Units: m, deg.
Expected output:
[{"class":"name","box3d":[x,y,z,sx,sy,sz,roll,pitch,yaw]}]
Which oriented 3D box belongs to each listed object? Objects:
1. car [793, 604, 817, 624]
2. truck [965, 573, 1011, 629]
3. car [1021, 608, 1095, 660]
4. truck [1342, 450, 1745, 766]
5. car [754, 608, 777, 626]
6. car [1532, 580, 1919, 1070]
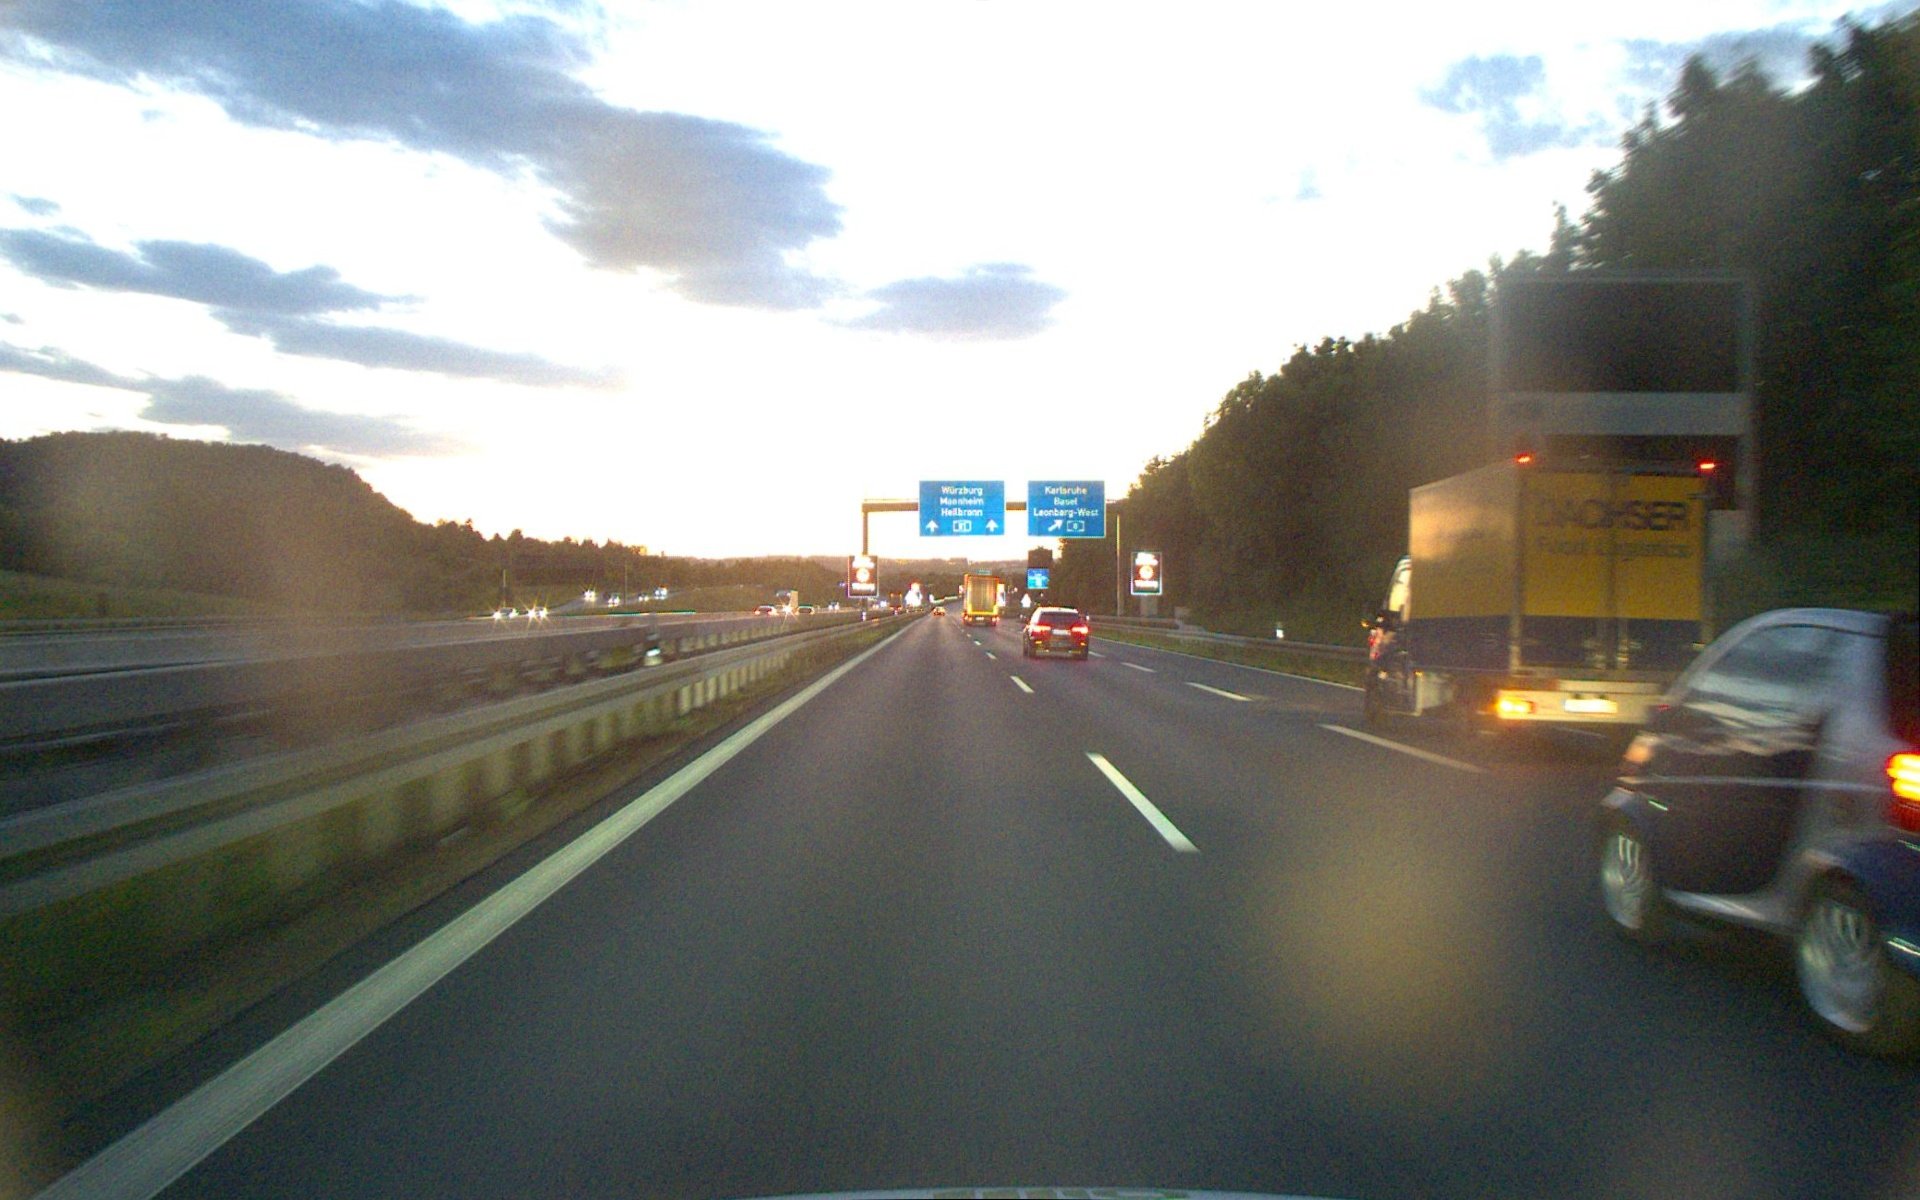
[{"class":"car","box3d":[-13.245,1.219,141.479,1.678,1.634,3.721,0,-1,-1]},{"class":"truck","box3d":[2.250,0.117,136.041,3.438,4.377,9.888,0,-1,-1]},{"class":"car","box3d":[2.861,0.994,49.060,1.876,1.467,3.999,0,-1,-1]},{"class":"truck","box3d":[6.501,0.087,19.550,2.222,3.024,6.629,2,0,-1]},{"class":"car","box3d":[-17.202,1.478,146.256,1.604,1.573,3.394,0,-1,-1]},{"class":"car","box3d":[3.831,0.740,6.980,1.578,1.583,3.317,0,-1,-2]}]
